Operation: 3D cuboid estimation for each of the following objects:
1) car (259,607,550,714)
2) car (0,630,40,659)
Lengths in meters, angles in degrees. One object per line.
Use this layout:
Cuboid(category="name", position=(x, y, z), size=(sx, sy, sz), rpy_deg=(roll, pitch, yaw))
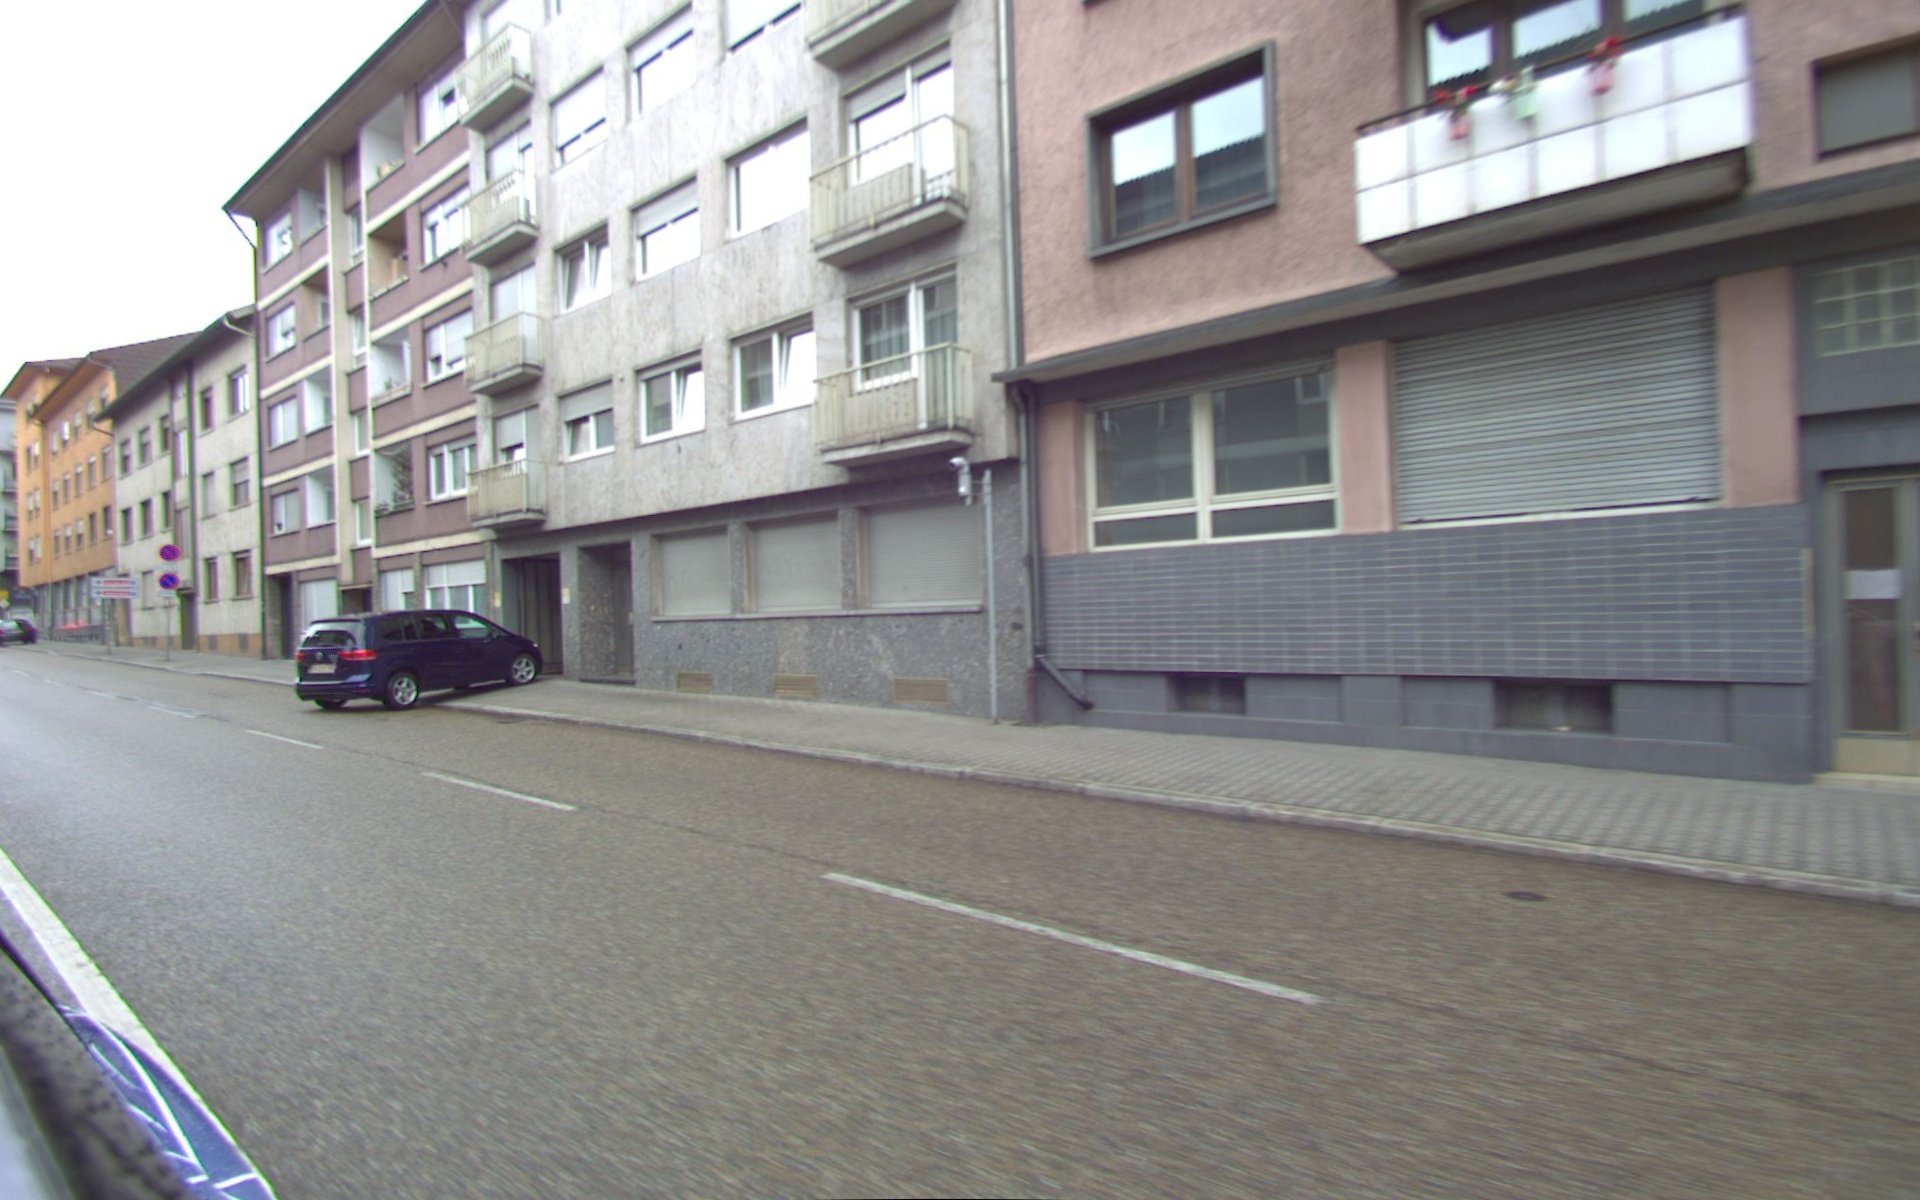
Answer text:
Cuboid(category="car", position=(-9.662, 0.971, 18.031), size=(1.986, 1.587, 4.278), rpy_deg=(-1, 0, 21))
Cuboid(category="car", position=(-52.601, 2.434, 56.114), size=(3.800, 1.466, 1.687), rpy_deg=(-1, 1, 38))
